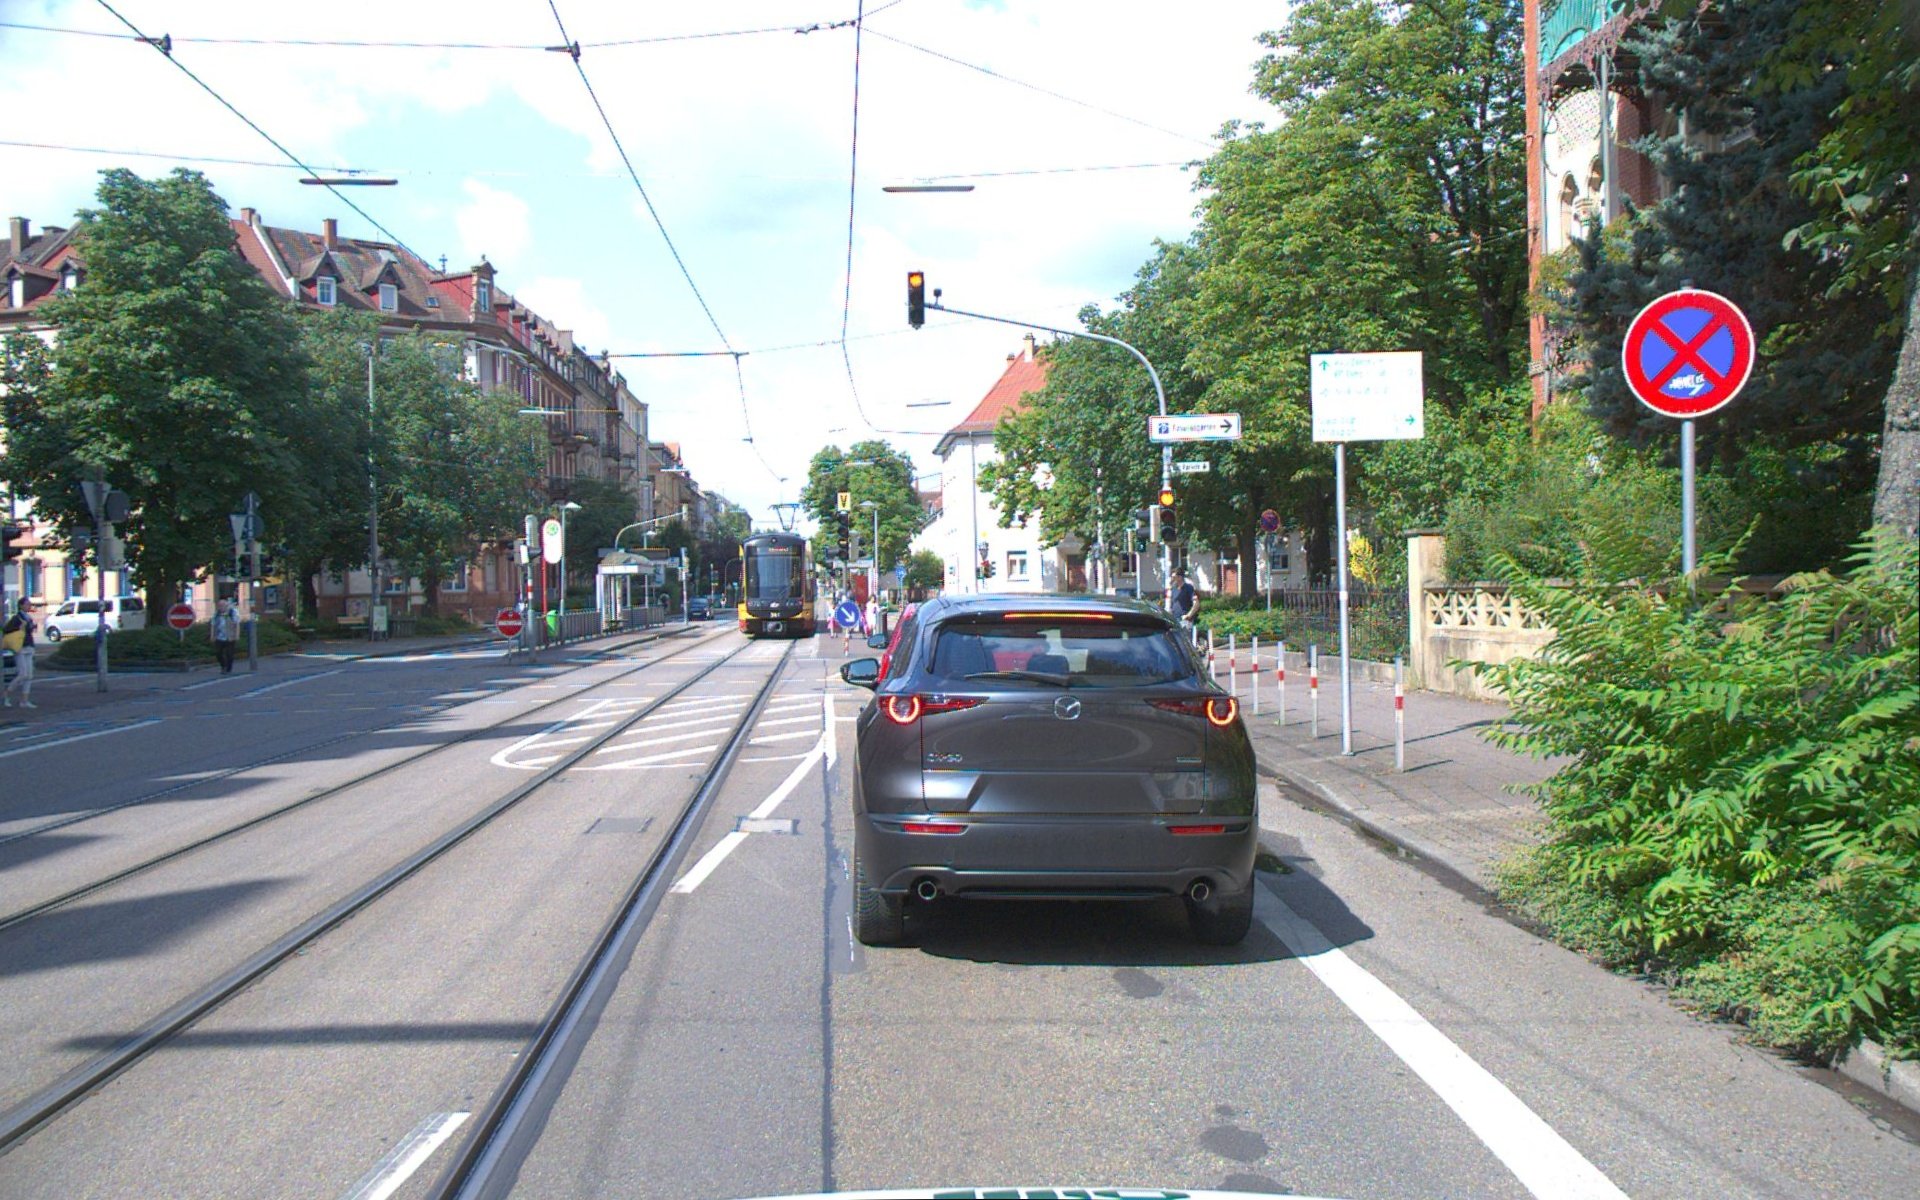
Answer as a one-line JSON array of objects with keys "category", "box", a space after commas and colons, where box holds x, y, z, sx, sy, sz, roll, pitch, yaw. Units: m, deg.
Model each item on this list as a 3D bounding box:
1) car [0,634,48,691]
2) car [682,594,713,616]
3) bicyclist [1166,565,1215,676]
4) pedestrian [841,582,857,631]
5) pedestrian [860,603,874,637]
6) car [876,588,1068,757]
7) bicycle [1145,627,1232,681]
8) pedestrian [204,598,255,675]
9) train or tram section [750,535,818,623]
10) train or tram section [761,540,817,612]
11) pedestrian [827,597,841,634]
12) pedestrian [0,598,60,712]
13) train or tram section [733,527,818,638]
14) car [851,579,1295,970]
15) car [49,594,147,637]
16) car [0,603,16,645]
[{"category": "car", "box": [-22.458, 1.404, 37.300, 3.915, 1.203, 1.674, -1, 0, 33]}, {"category": "car", "box": [-16.398, 0.294, 103.298, 1.583, 1.333, 3.624, -1, 0, -5]}, {"category": "bicyclist", "box": [3.848, 0.335, 27.616, 0.597, 1.824, 0.656, -1, 0, -11]}, {"category": "pedestrian", "box": [-3.354, 0.206, 49.957, 0.441, 1.459, 0.474, -1, 0, -6]}, {"category": "pedestrian", "box": [-2.839, 0.601, 50.332, 0.372, 1.001, 0.474, -1, 0, -6]}, {"category": "car", "box": [0.058, 0.654, 17.129, 1.742, 1.526, 3.999, 1, 0, -2]}, {"category": "bicycle", "box": [3.859, 0.893, 27.839, 1.685, 0.838, 0.487, -1, 0, -43]}, {"category": "pedestrian", "box": [-16.758, 0.834, 37.955, 0.804, 1.735, 0.719, -1, 0, 4]}, {"category": "train or tram section", "box": [-7.904, -1.024, 75.436, 2.699, 3.551, 14.394, -1, 1, -5]}, {"category": "train or tram section", "box": [-9.163, -1.348, 89.772, 2.699, 3.551, 14.394, -1, 1, -5]}, {"category": "pedestrian", "box": [-3.799, 0.468, 49.922, 0.372, 1.089, 0.474, -1, 0, -6]}, {"category": "pedestrian", "box": [-15.081, 0.874, 26.594, 0.670, 1.785, 0.800, -1, 0, 29]}, {"category": "train or tram section", "box": [-6.645, -0.711, 61.106, 2.699, 3.551, 14.394, -1, 1, -5]}, {"category": "car", "box": [0.399, 0.682, 8.529, 1.742, 1.526, 3.999, 1, 0, -2]}, {"category": "car", "box": [-40.214, 0.719, 77.145, 3.906, 1.937, 2.000, -1, 0, 23]}, {"category": "car", "box": [-39.651, 0.994, 65.002, 3.906, 1.624, 2.000, -1, 0, -1]}]
